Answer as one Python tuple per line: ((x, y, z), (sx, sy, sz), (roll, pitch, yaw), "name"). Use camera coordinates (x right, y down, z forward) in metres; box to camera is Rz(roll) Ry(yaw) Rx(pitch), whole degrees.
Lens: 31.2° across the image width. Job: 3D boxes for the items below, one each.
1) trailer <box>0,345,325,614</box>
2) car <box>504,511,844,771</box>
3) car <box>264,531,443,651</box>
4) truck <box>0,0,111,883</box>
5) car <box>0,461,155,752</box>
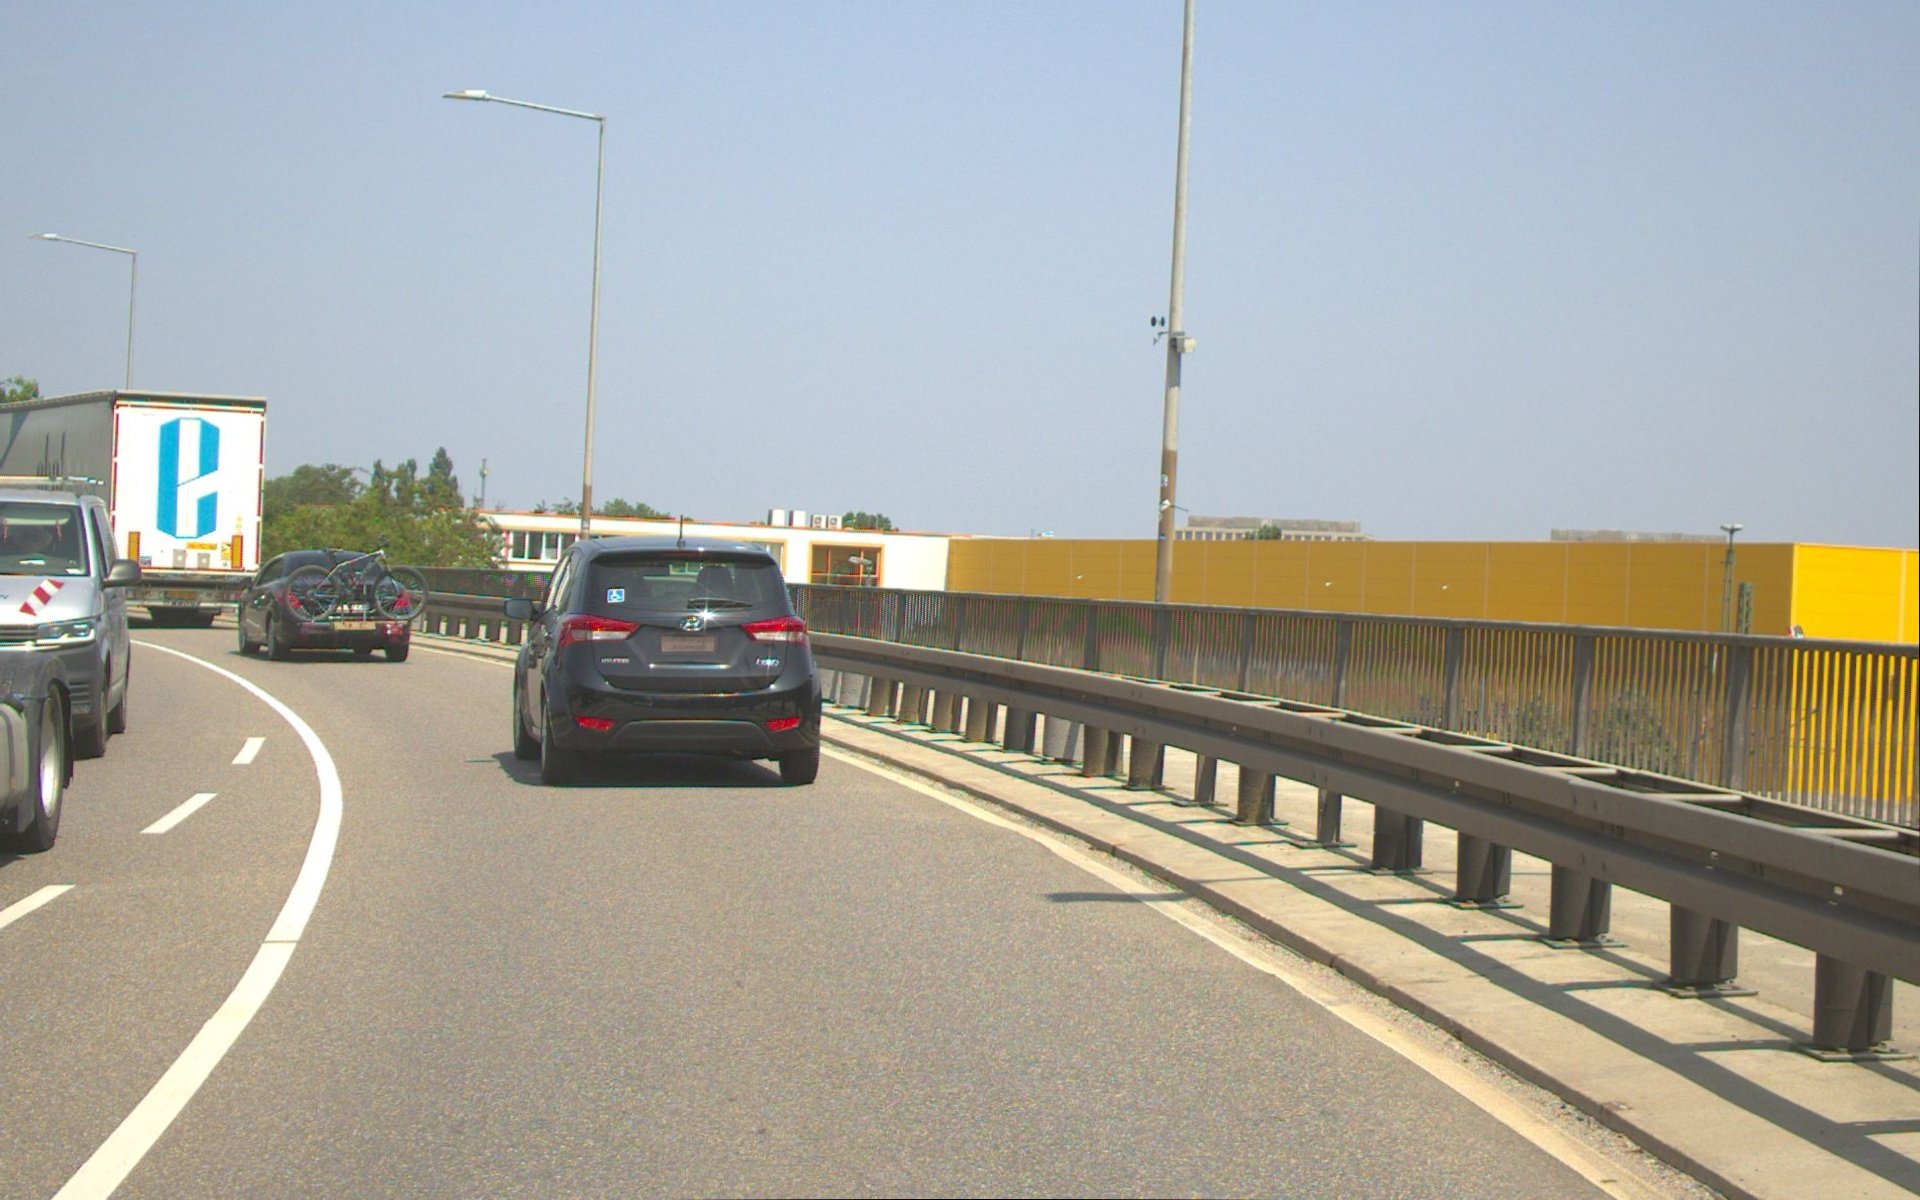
((-14.885, -2.127, 62.323), (3.569, 4.369, 11.443), (1, 1, -26), "trailer")
((-2.013, 0.220, 23.144), (1.921, 1.568, 3.893), (1, 1, -10), "car")
((-7.857, -0.145, 44.305), (2.011, 1.424, 3.778), (1, 1, -14), "car")
((-5.451, -0.769, 14.284), (2.705, 3.978, 6.187), (1, 1, -5), "truck")
((-7.248, 0.024, 26.034), (1.860, 1.993, 4.815), (-2, 1, -9), "car")
